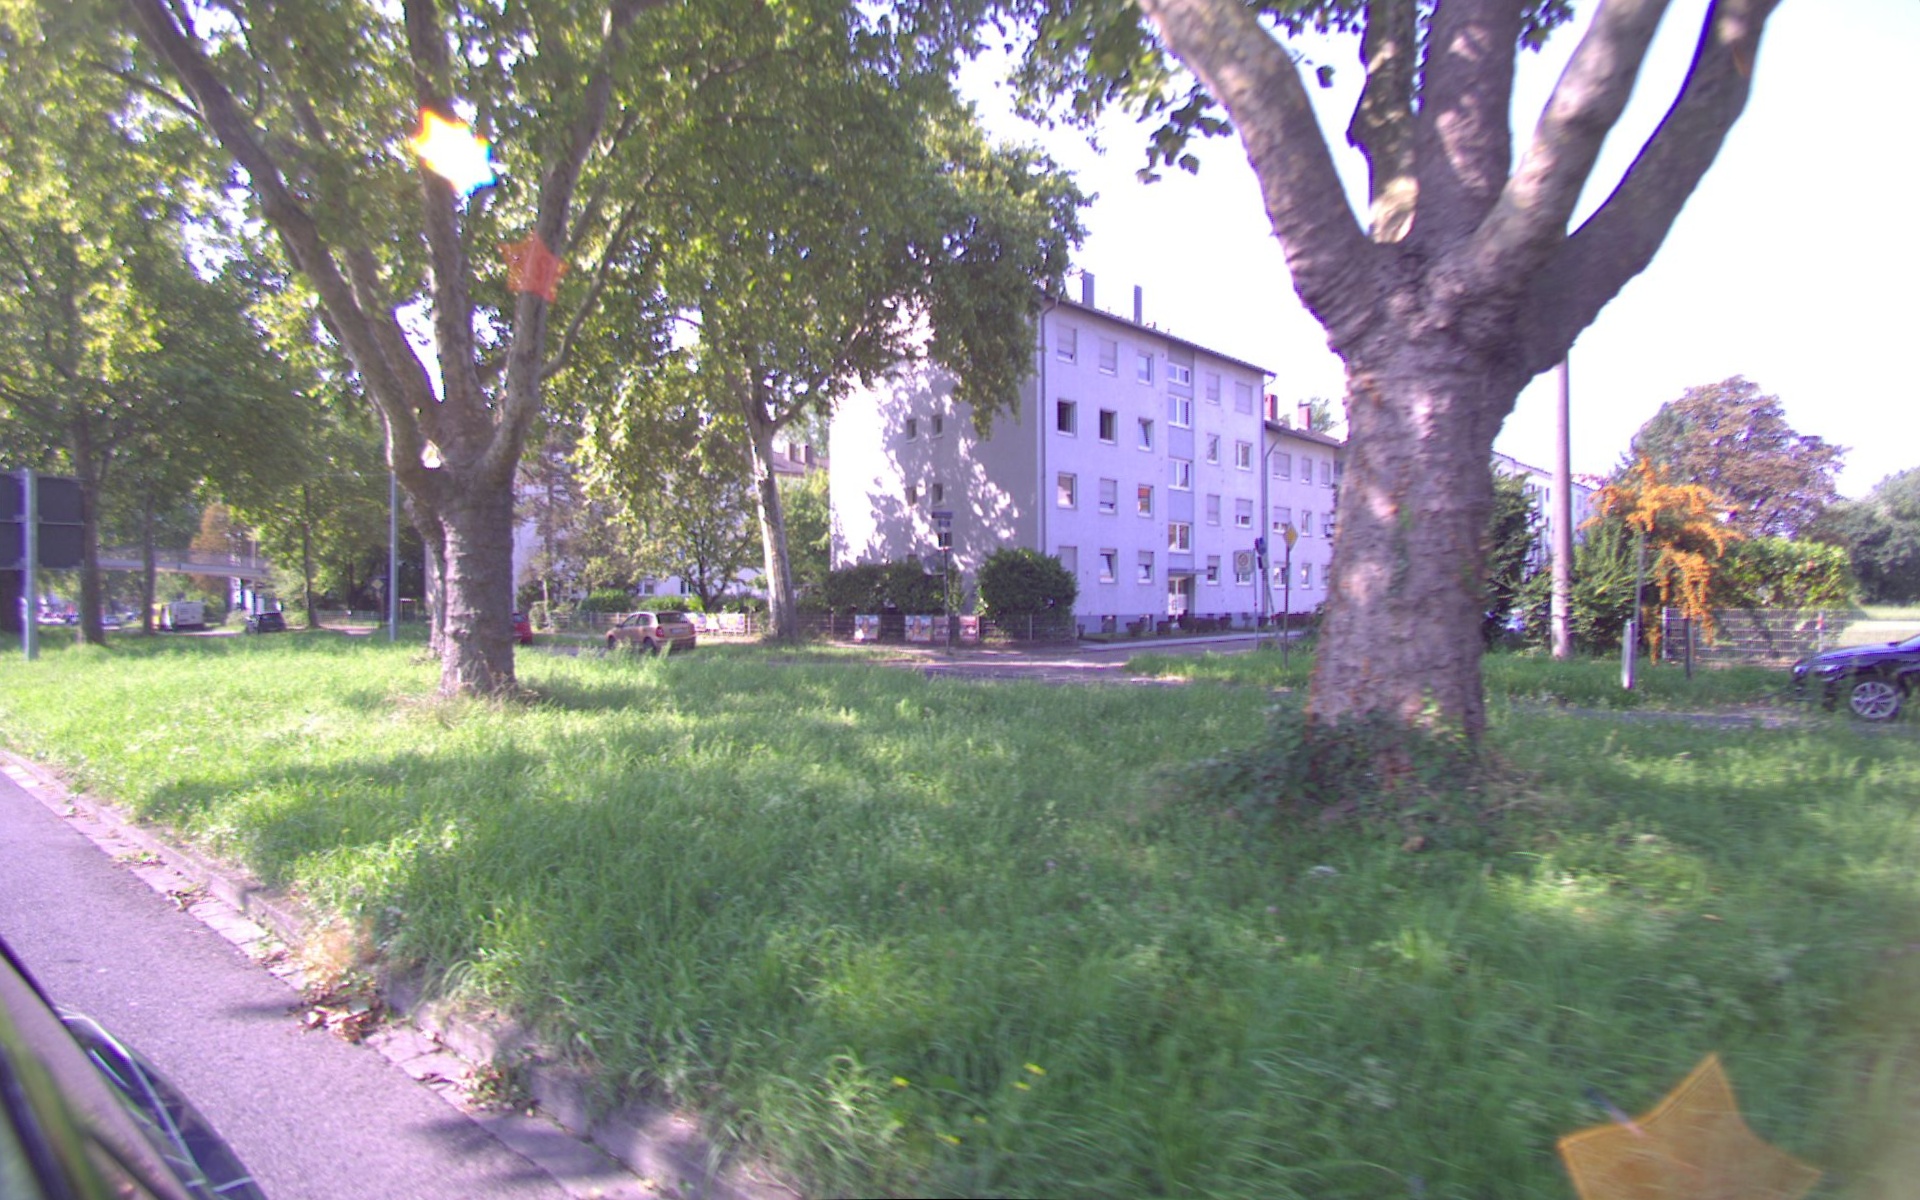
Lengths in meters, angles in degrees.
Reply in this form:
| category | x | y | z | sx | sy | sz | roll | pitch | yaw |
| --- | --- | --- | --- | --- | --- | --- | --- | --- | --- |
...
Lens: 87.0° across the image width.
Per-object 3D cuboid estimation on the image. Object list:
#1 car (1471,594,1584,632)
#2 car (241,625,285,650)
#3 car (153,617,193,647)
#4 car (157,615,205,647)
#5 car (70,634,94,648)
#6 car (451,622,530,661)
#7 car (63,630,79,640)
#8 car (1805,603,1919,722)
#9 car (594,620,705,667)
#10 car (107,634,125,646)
| category | x | y | z | sx | sy | sz | roll | pitch | yaw |
| --- | --- | --- | --- | --- | --- | --- | --- | --- | --- |
| car | 22.864 | 0.543 | 40.834 | 1.525 | 1.450 | 3.684 | -1 | 0 | -45 |
| car | -45.549 | 2.449 | 66.143 | 3.862 | 1.544 | 1.506 | -1 | -1 | 42 |
| car | -70.407 | 2.816 | 90.484 | 2.182 | 2.498 | 6.066 | -1 | 0 | -44 |
| car | -65.134 | 2.569 | 84.570 | 6.267 | 2.448 | 2.183 | -2 | 2 | 44 |
| car | -110.365 | 5.185 | 127.183 | 4.719 | 1.733 | 1.782 | -2 | -2 | 43 |
| car | -19.484 | 1.692 | 41.919 | 4.064 | 1.462 | 1.522 | -2 | 0 | 43 |
| car | -150.206 | 5.924 | 170.943 | 1.767 | 1.544 | 4.458 | -1 | 0 | -44 |
| car | 13.703 | 0.775 | 12.826 | 4.539 | 1.519 | 1.681 | -2 | -1 | 42 |
| car | -10.549 | 1.446 | 34.294 | 4.064 | 1.441 | 1.782 | -2 | -1 | 43 |
| car | -112.085 | 5.339 | 134.368 | 1.626 | 1.490 | 3.902 | -1 | 0 | -44 |
